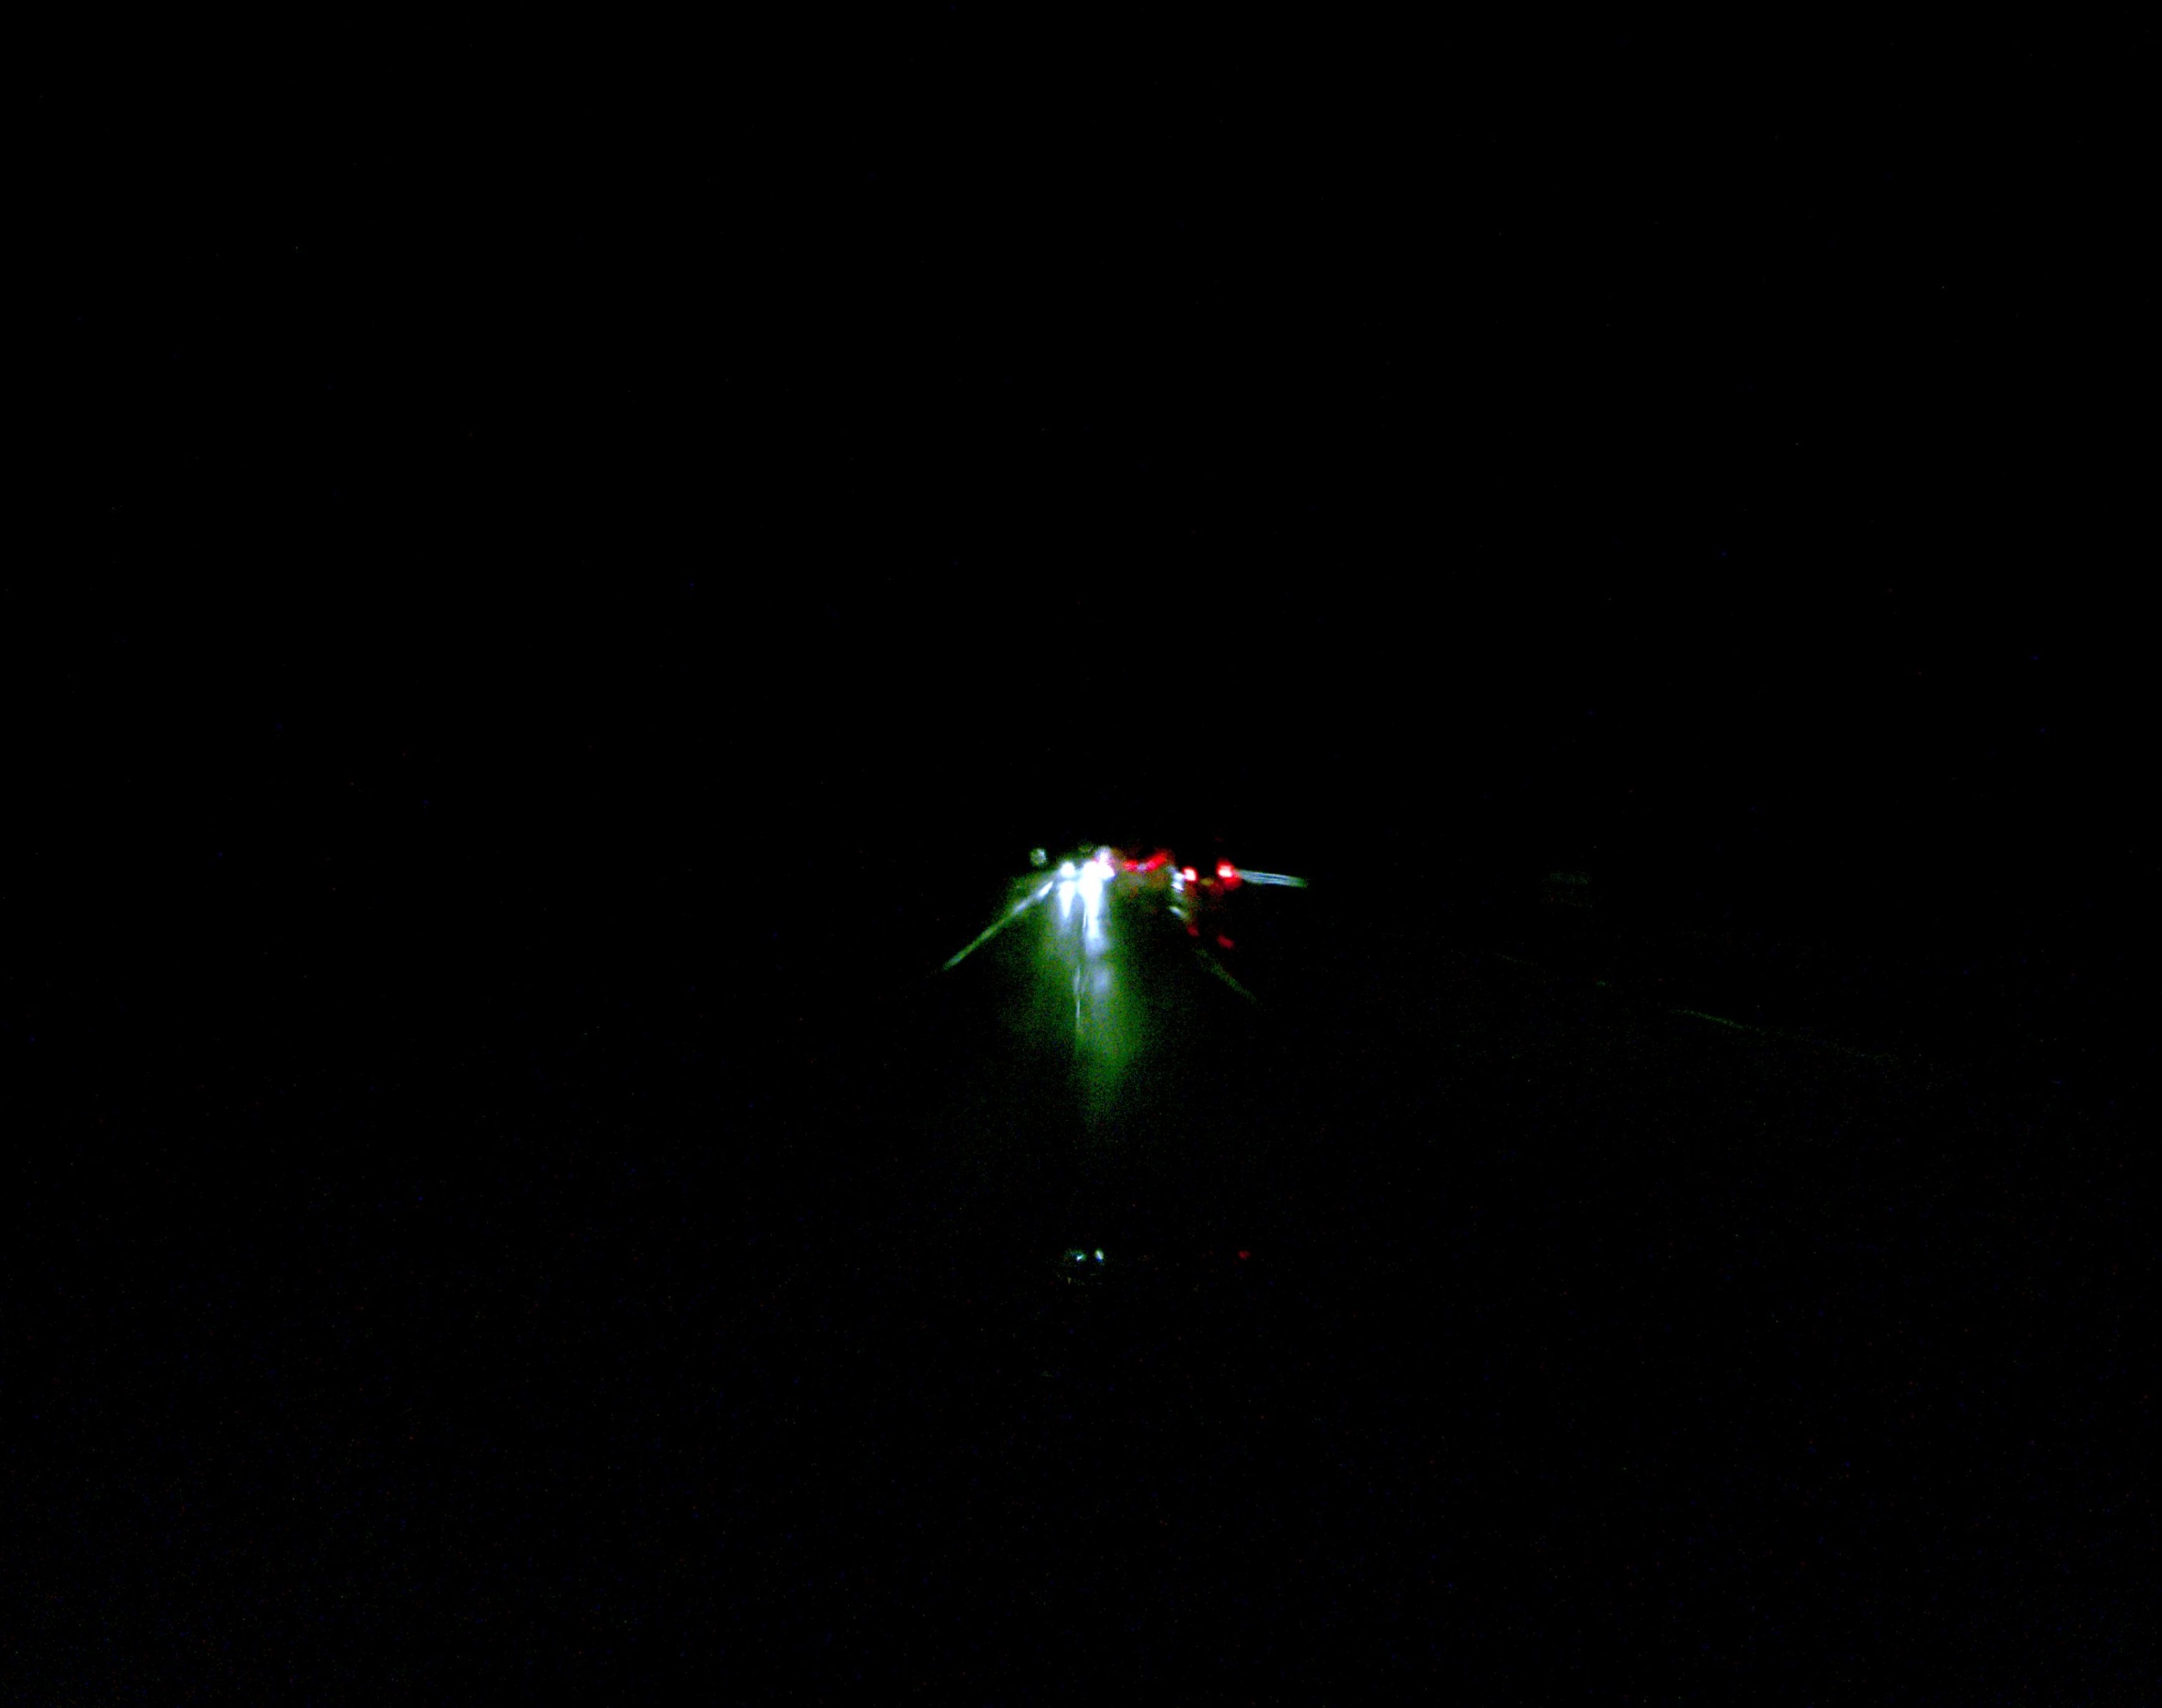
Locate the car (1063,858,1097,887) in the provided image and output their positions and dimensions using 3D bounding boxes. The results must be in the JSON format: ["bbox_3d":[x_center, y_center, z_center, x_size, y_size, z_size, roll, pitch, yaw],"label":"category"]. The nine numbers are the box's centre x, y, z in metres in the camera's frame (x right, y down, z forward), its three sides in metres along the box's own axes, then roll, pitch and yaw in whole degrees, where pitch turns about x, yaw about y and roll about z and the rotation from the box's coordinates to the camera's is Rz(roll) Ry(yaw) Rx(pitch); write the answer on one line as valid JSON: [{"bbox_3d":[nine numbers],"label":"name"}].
[{"bbox_3d":[-0.034,1.243,52.038,1.998,1.804,4.001,-3,0,3],"label":"car"}]

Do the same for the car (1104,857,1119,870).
[{"bbox_3d":[3.683,1.167,92.580,1.720,1.462,3.708,-1,-1,0],"label":"car"}]

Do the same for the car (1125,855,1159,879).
[{"bbox_3d":[3.833,0.831,48.252,1.833,1.447,3.793,0,-1,0],"label":"car"}]

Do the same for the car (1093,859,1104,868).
[{"bbox_3d":[3.032,1.592,129.393,1.720,1.508,3.878,-3,-1,0],"label":"car"}]

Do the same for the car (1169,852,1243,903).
[{"bbox_3d":[4.175,0.783,25.925,1.936,1.577,4.001,0,-1,1],"label":"car"}]
